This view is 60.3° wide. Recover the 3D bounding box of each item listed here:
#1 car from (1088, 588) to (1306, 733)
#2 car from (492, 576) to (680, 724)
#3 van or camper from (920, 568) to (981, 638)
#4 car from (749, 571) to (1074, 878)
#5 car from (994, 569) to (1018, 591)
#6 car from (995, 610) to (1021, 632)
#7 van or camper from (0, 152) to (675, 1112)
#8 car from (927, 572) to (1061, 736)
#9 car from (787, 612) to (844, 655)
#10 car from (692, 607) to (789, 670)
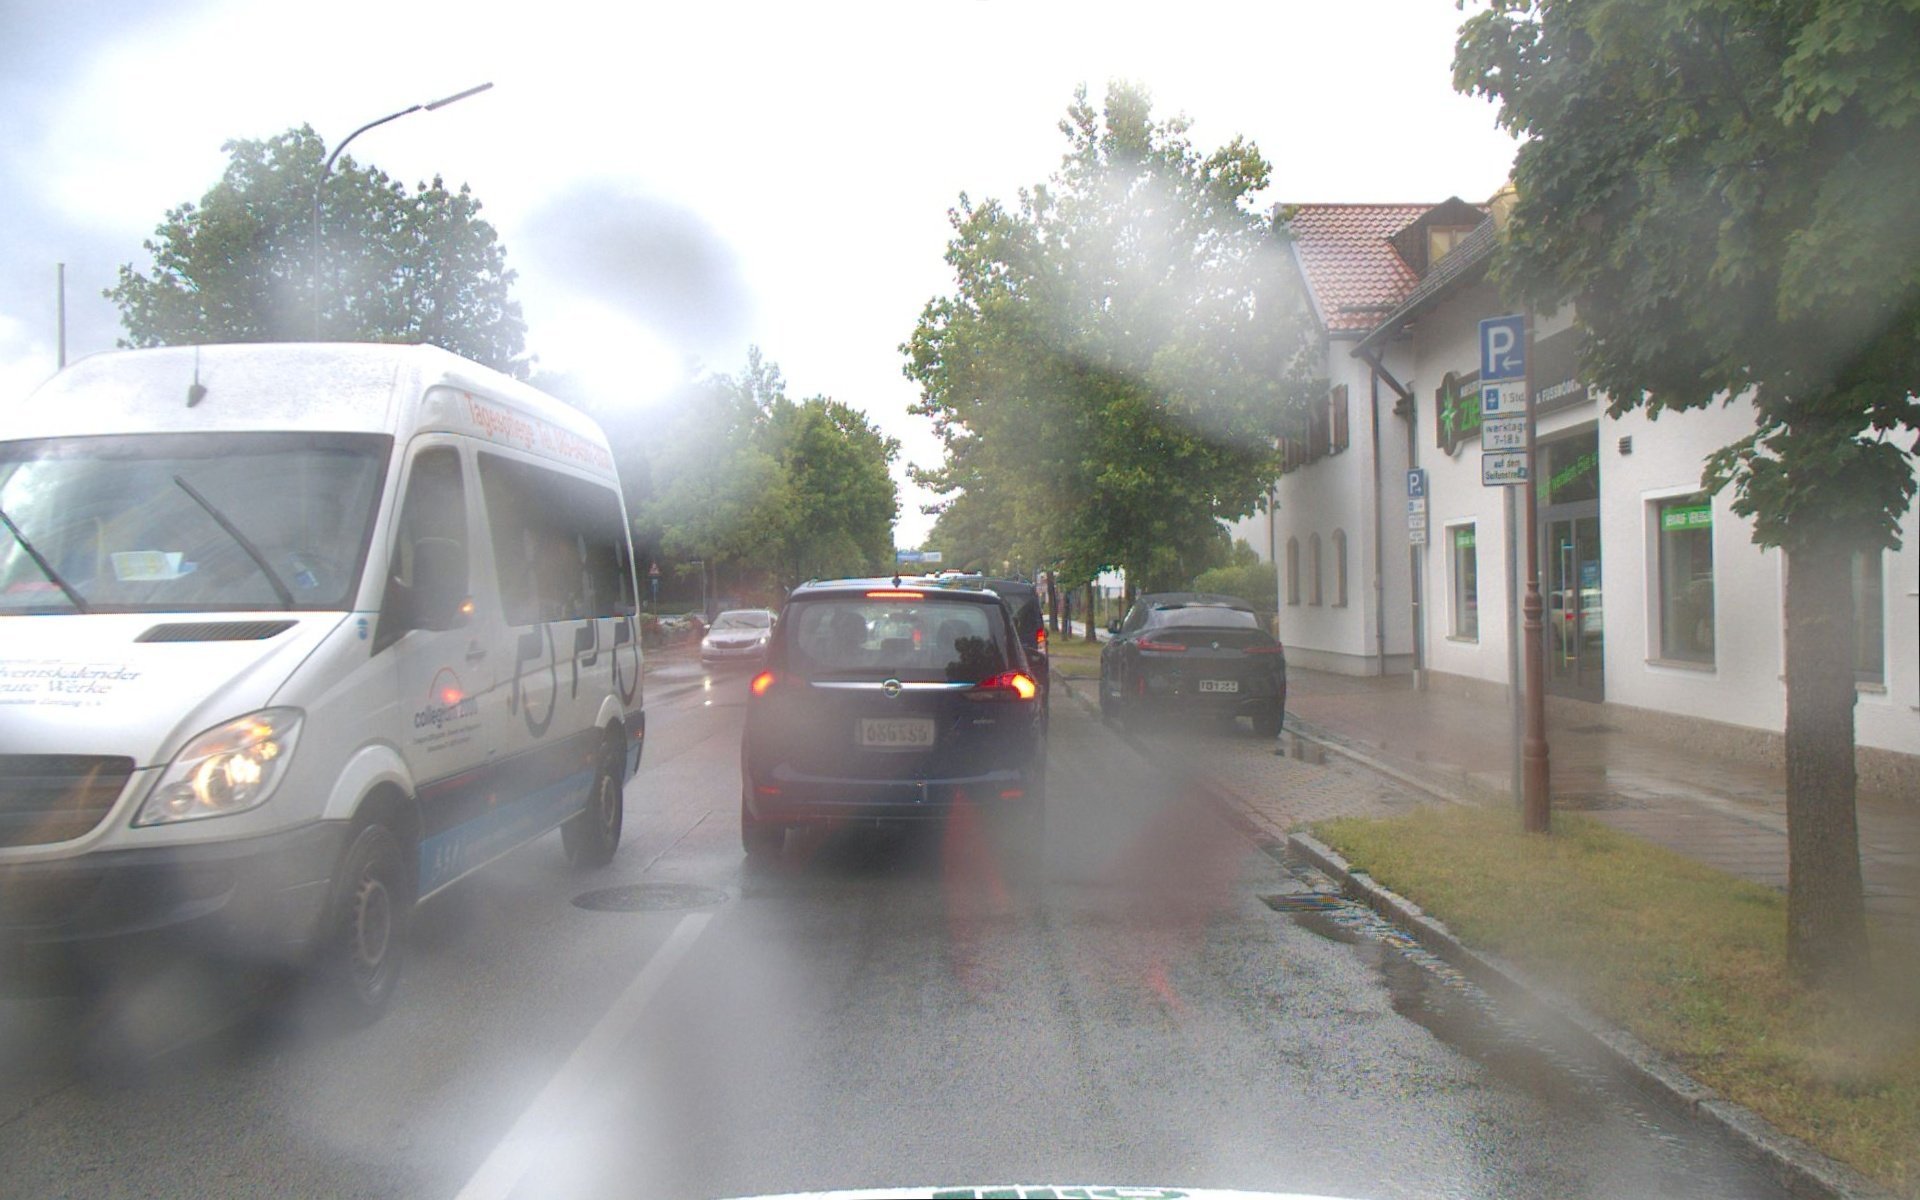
[{"bbox_3d":[2.813,0.701,20.532,2.074,1.609,3.934,0,-1,-1],"label":"car"},{"bbox_3d":[-5.537,0.697,25.165,1.780,1.924,5.256,-3,0,-2],"label":"car"},{"bbox_3d":[-0.394,0.119,67.383,2.312,2.712,5.371,-1,0,0],"label":"van or camper"},{"bbox_3d":[-0.269,0.677,10.715,1.732,1.633,3.663,1,0,0],"label":"car"},{"bbox_3d":[3.284,-1.435,118.635,1.597,1.402,3.622,-2,0,-1],"label":"car"},{"bbox_3d":[3.159,1.370,109.172,1.597,1.402,3.622,0,-1,-1],"label":"car"},{"bbox_3d":[-2.968,0.108,7.912,2.051,2.755,6.268,-1,0,0],"label":"van or camper"},{"bbox_3d":[0.370,0.604,19.874,1.469,1.807,3.111,0,0,0],"label":"car"},{"bbox_3d":[-5.142,1.179,59.343,1.548,1.400,4.184,-2,0,1],"label":"car"},{"bbox_3d":[-5.398,0.916,41.095,1.742,1.400,4.184,-2,0,1],"label":"car"}]
